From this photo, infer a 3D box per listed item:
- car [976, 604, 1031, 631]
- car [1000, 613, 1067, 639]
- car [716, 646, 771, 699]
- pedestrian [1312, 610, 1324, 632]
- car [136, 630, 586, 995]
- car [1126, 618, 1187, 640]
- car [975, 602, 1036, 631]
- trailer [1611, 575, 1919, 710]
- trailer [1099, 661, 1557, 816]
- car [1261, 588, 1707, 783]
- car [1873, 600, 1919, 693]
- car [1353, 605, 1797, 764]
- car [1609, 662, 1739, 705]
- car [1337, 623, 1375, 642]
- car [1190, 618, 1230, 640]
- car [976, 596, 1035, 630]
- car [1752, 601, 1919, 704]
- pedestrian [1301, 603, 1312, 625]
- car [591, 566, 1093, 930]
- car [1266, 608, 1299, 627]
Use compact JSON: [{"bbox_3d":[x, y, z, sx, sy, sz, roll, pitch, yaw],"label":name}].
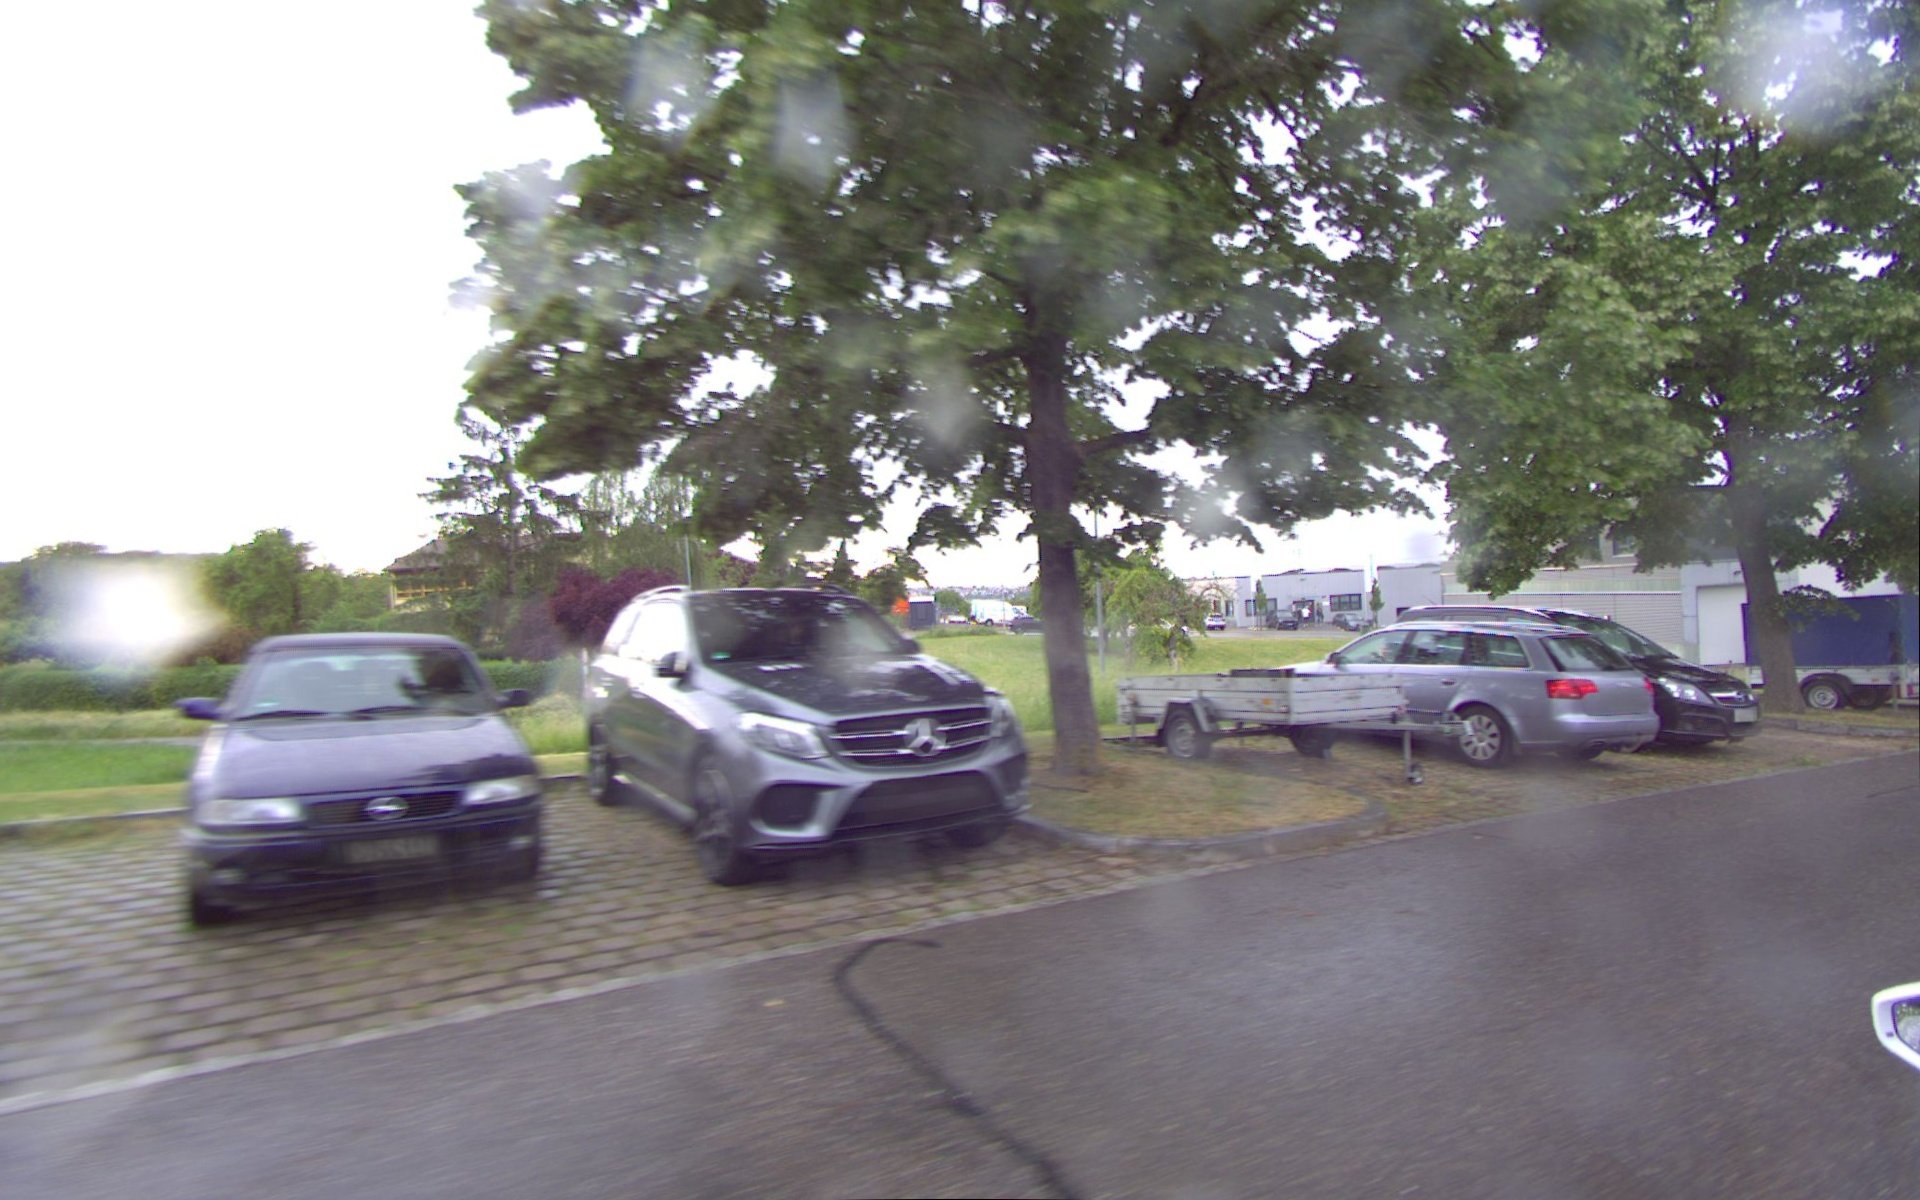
[{"bbox_3d":[4.437,1.816,102.630,5.328,2.603,1.999,1,-2,-5],"label":"car"},{"bbox_3d":[5.968,2.132,82.401,5.315,2.000,2.292,0,-3,0],"label":"car"},{"bbox_3d":[-9.748,3.253,45.556,1.893,2.249,4.501,-1,-3,-5],"label":"car"},{"bbox_3d":[33.167,1.956,93.100,0.847,2.031,0.660,0,-1,3],"label":"pedestrian"},{"bbox_3d":[-3.831,0.948,6.371,1.756,1.450,4.185,2,-2,-34],"label":"car"},{"bbox_3d":[16.060,2.375,82.214,4.528,1.670,2.292,-1,-3,0],"label":"car"},{"bbox_3d":[4.356,1.577,96.785,5.703,2.738,1.998,1,0,-6],"label":"car"},{"bbox_3d":[13.915,0.726,17.334,1.751,2.010,4.198,1,-2,-27],"label":"trailer"},{"bbox_3d":[3.332,1.189,9.857,1.976,0.974,3.924,0,-1,-29],"label":"trailer"},{"bbox_3d":[5.573,0.784,11.278,1.998,1.744,4.061,1,0,-25],"label":"car"},{"bbox_3d":[21.312,0.935,19.994,1.834,1.931,4.293,1,-2,-21],"label":"car"},{"bbox_3d":[7.496,0.904,12.846,1.783,1.611,4.601,1,0,-27],"label":"car"},{"bbox_3d":[25.655,2.990,36.149,3.635,1.466,1.563,0,-2,-3],"label":"car"},{"bbox_3d":[35.968,2.928,91.431,1.960,1.639,4.001,0,-1,2],"label":"car"},{"bbox_3d":[22.765,2.644,91.798,2.236,1.880,4.716,-1,0,-3],"label":"car"},{"bbox_3d":[4.758,1.395,105.310,6.176,3.474,2.001,0,-2,1],"label":"car"},{"bbox_3d":[16.861,0.931,17.741,1.734,1.744,4.177,2,-3,-30],"label":"car"},{"bbox_3d":[32.156,1.323,93.318,0.834,2.040,0.647,0,-1,5],"label":"pedestrian"},{"bbox_3d":[-1.183,0.805,7.246,2.021,1.744,4.346,2,-3,-31],"label":"car"},{"bbox_3d":[29.509,1.624,91.952,1.775,1.639,4.001,0,-1,2],"label":"car"}]
